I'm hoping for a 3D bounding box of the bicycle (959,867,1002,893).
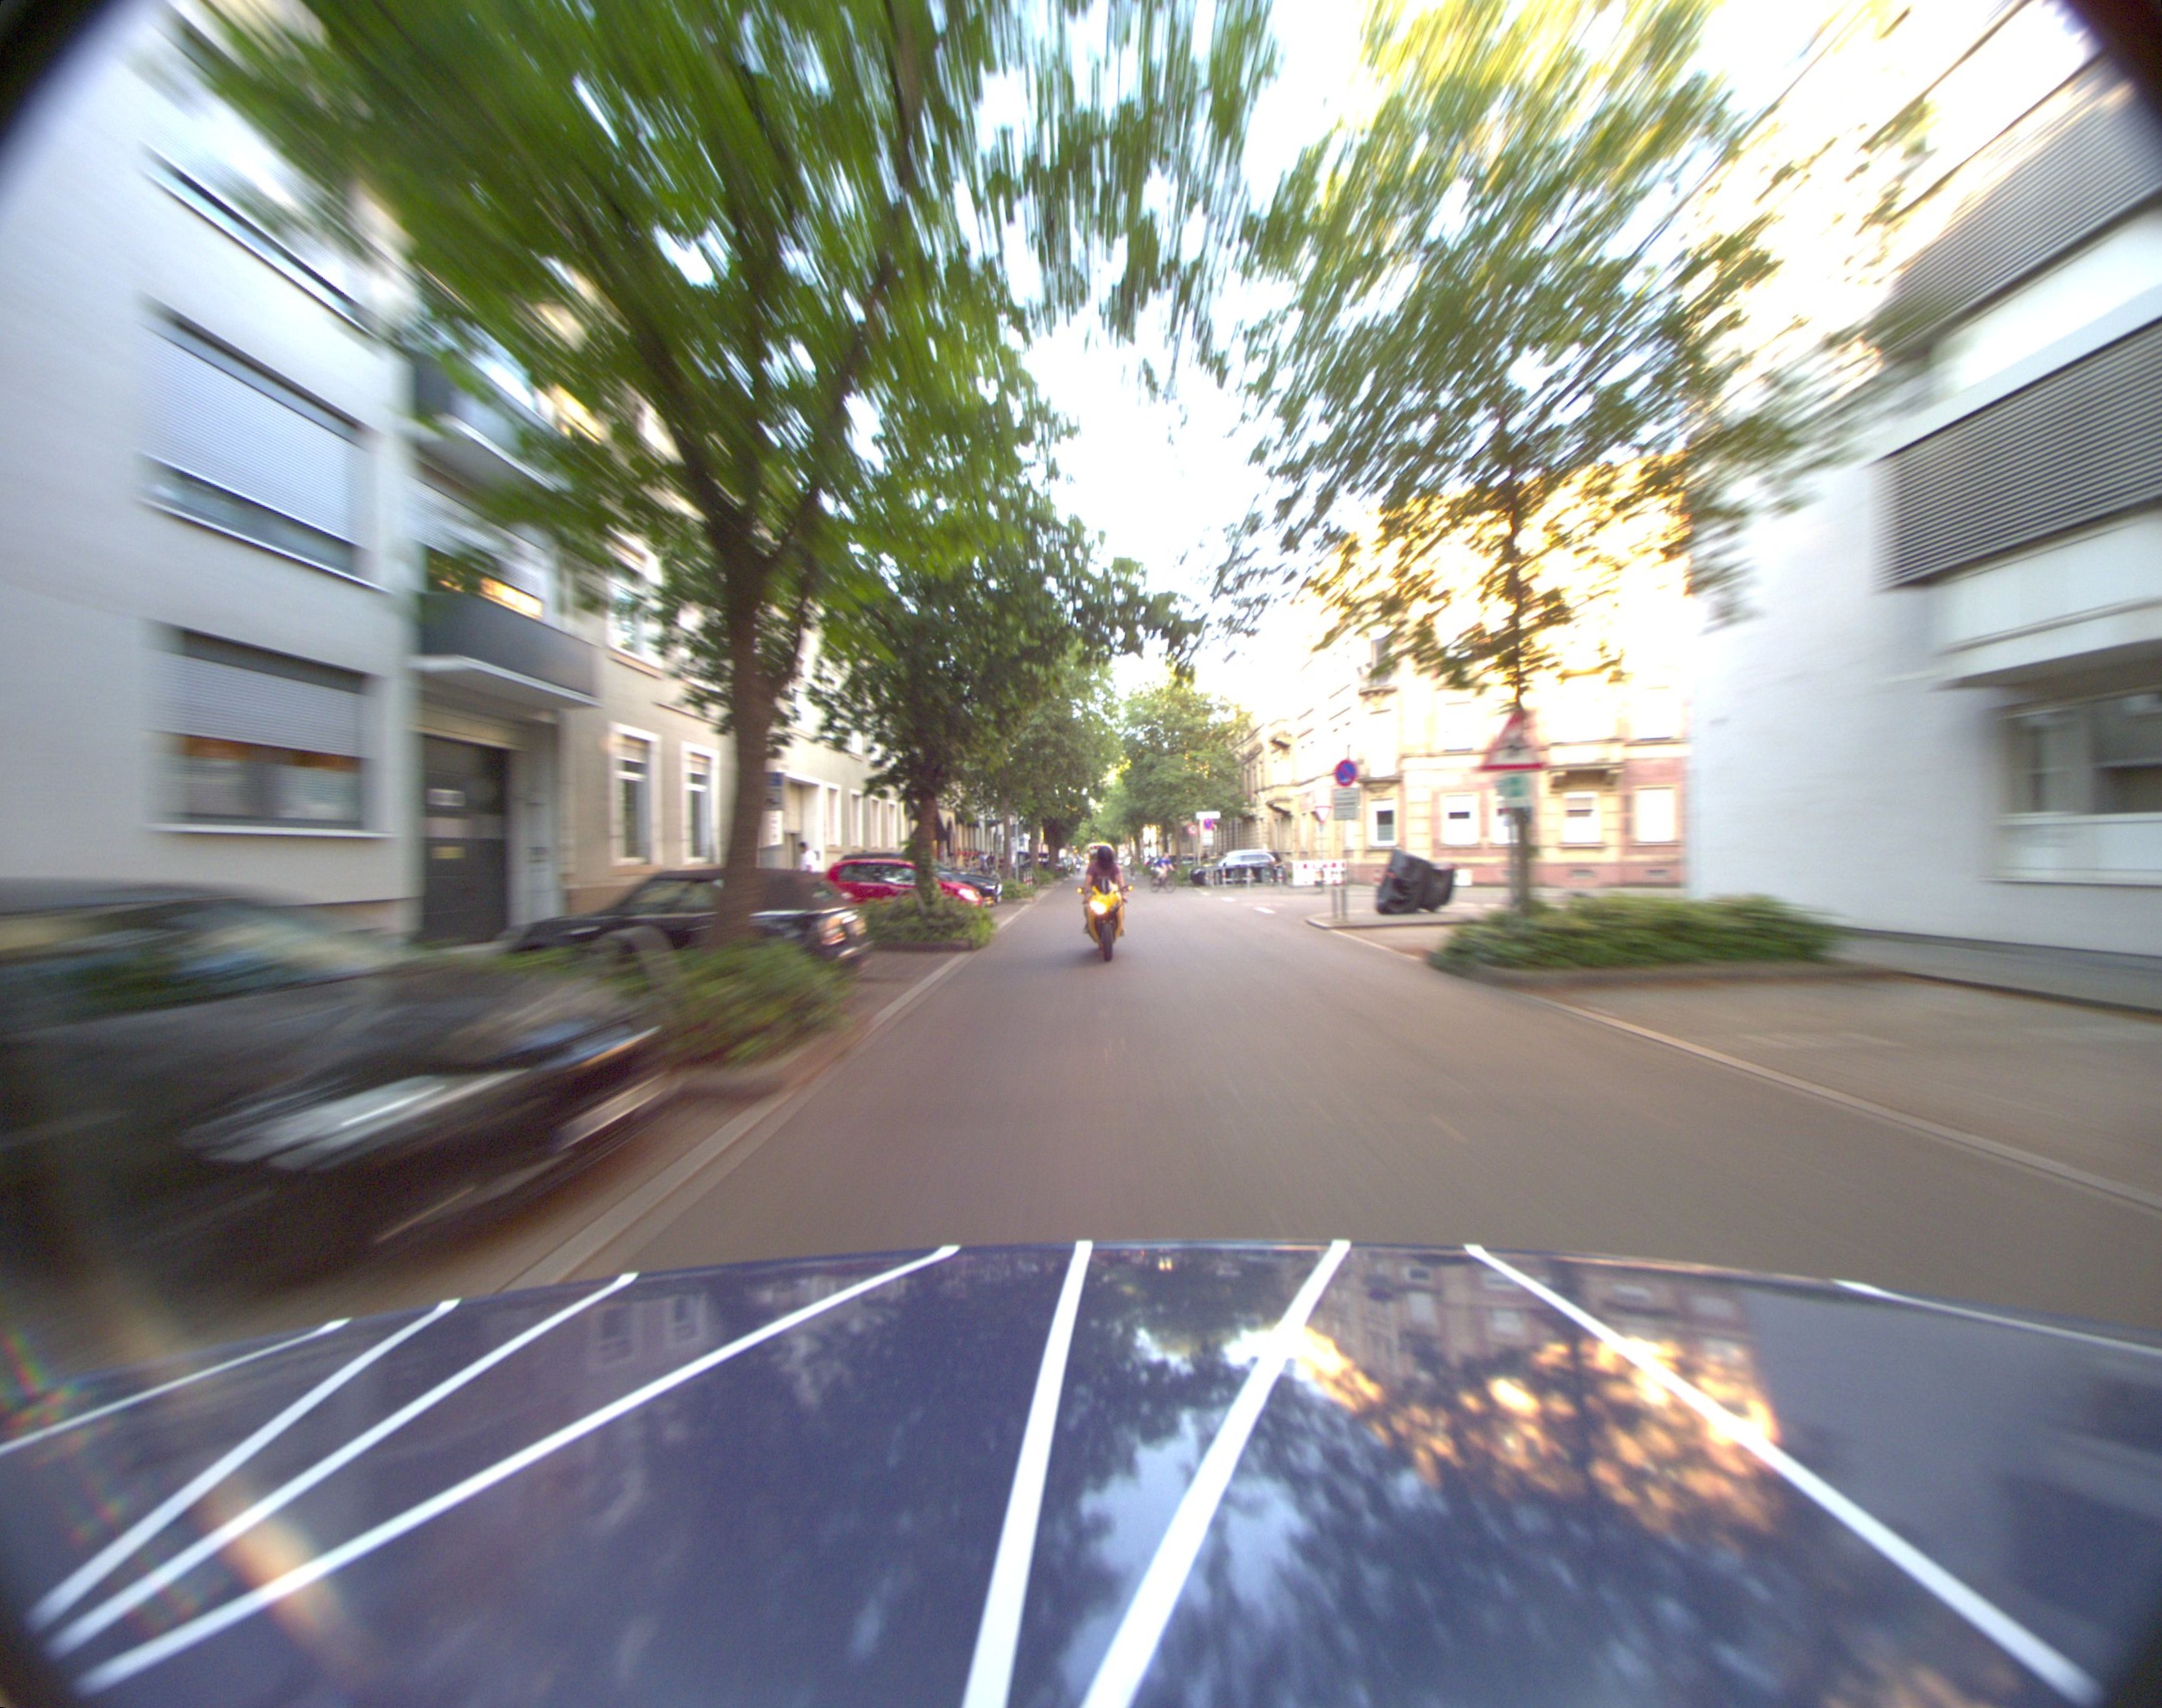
[{"bbox_3d":[-4.330,1.098,32.699,1.799,1.101,0.500,0,0,-4],"label":"bicycle"}]

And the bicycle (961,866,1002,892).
[{"bbox_3d":[-4.386,1.083,33.551,1.800,1.136,0.651,0,0,-8],"label":"bicycle"}]

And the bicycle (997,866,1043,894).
[{"bbox_3d":[-2.557,1.087,31.714,1.843,1.129,0.744,0,0,-9],"label":"bicycle"}]

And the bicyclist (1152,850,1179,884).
[{"bbox_3d":[3.510,0.543,31.545,0.675,1.355,0.775,-3,0,-35],"label":"bicyclist"}]

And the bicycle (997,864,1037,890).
[{"bbox_3d":[-2.959,1.076,35.254,1.834,1.171,0.673,0,0,0],"label":"bicycle"}]

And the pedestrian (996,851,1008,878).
[{"bbox_3d":[-5.055,0.679,48.619,0.708,1.728,0.726,1,-1,-8],"label":"pedestrian"}]

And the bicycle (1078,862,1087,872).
[{"bbox_3d":[0.121,1.333,76.244,0.637,0.977,1.980,-3,-1,-7],"label":"bicycle"}]

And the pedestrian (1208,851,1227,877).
[{"bbox_3d":[8.659,0.642,48.215,0.832,1.661,0.796,0,0,-21],"label":"pedestrian"}]

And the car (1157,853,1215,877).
[{"bbox_3d":[7.477,0.798,54.341,3.954,1.523,1.908,-2,0,3],"label":"car"}]

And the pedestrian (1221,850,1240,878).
[{"bbox_3d":[9.369,0.626,47.634,0.832,1.727,0.796,0,0,-21],"label":"pedestrian"}]

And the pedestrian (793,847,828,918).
[{"bbox_3d":[-6.680,0.685,18.744,0.693,1.727,0.672,-1,1,-30],"label":"pedestrian"}]

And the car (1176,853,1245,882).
[{"bbox_3d":[7.532,0.777,44.456,3.701,1.449,1.873,-3,-1,0],"label":"car"}]

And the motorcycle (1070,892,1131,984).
[{"bbox_3d":[0.288,1.129,10.707,0.737,1.053,1.964,-2,0,2],"label":"motorcycle"}]

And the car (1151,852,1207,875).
[{"bbox_3d":[7.829,0.756,61.020,4.211,1.662,1.908,-3,-1,1],"label":"car"}]

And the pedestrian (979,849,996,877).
[{"bbox_3d":[-5.920,0.583,48.115,0.712,1.728,0.749,1,-1,21],"label":"pedestrian"}]

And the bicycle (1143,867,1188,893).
[{"bbox_3d":[3.491,1.084,31.623,0.675,1.024,1.972,-3,0,-35],"label":"bicycle"}]

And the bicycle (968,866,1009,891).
[{"bbox_3d":[-4.182,1.092,34.365,1.799,1.122,0.664,0,0,-5],"label":"bicycle"}]

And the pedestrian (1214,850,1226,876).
[{"bbox_3d":[9.620,0.630,52.704,0.736,1.729,0.671,-2,0,7],"label":"pedestrian"}]

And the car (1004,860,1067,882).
[{"bbox_3d":[-3.283,1.208,55.472,4.412,1.385,1.885,2,0,-1],"label":"car"}]

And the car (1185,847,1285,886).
[{"bbox_3d":[7.451,0.608,37.072,4.436,1.641,1.873,-3,-1,2],"label":"car"}]

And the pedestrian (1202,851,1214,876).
[{"bbox_3d":[8.733,0.648,52.291,0.736,1.729,0.671,-2,0,7],"label":"pedestrian"}]

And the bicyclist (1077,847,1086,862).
[{"bbox_3d":[0.048,0.056,76.216,0.637,1.551,0.818,-3,0,-7],"label":"bicyclist"}]

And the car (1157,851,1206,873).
[{"bbox_3d":[8.402,0.677,63.630,3.810,1.662,1.714,-3,0,0],"label":"car"}]

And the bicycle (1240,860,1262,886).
[{"bbox_3d":[7.594,0.848,33.962,0.523,1.013,1.861,-4,2,1],"label":"bicycle"}]

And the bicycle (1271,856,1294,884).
[{"bbox_3d":[9.012,0.693,34.000,0.518,1.101,1.861,-4,2,1],"label":"bicycle"}]

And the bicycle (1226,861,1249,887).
[{"bbox_3d":[6.979,0.875,33.942,0.523,1.053,1.861,-4,2,-1],"label":"bicycle"}]

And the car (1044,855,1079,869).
[{"bbox_3d":[-2.408,1.025,94.681,4.119,1.608,1.961,-1,0,2],"label":"car"}]

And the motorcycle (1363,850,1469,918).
[{"bbox_3d":[7.842,0.691,17.798,2.217,1.473,0.858,-2,-1,-17],"label":"motorcycle"}]

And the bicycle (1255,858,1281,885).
[{"bbox_3d":[8.338,0.766,33.921,0.670,1.057,1.861,-4,2,1],"label":"bicycle"}]

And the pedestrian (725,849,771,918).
[{"bbox_3d":[-7.524,0.645,17.207,0.656,1.527,0.831,0,0,2],"label":"pedestrian"}]

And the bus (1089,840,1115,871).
[{"bbox_3d":[2.335,0.185,87.425,2.668,3.175,11.899,-3,0,1],"label":"bus"}]

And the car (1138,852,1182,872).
[{"bbox_3d":[7.574,0.768,73.435,3.975,1.587,1.781,-5,0,1],"label":"car"}]

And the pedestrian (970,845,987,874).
[{"bbox_3d":[-6.410,0.346,47.314,0.725,1.728,0.746,1,-1,28],"label":"pedestrian"}]

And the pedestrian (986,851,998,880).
[{"bbox_3d":[-5.402,0.712,46.264,0.616,1.728,0.623,1,-1,1],"label":"pedestrian"}]

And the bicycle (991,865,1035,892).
[{"bbox_3d":[-2.956,1.068,33.049,1.834,1.171,0.601,0,0,0],"label":"bicycle"}]

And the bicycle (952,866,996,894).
[{"bbox_3d":[-4.424,1.078,31.495,1.800,1.136,0.668,0,0,-8],"label":"bicycle"}]

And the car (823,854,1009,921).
[{"bbox_3d":[-4.240,0.844,20.039,4.436,1.646,1.900,-1,0,2],"label":"car"}]

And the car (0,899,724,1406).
[{"bbox_3d":[-4.421,0.966,3.355,4.723,1.413,2.036,0,0,1],"label":"car"}]

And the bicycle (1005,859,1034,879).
[{"bbox_3d":[-4.053,0.988,50.009,1.800,1.225,0.673,2,0,-8],"label":"bicycle"}]

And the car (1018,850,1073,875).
[{"bbox_3d":[-3.136,0.739,68.001,4.701,1.999,2.037,2,0,0],"label":"car"}]

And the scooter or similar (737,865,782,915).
[{"bbox_3d":[-7.508,0.831,17.773,0.656,1.146,0.831,0,0,2],"label":"scooter or similar"}]

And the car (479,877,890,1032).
[{"bbox_3d":[-4.065,1.000,8.301,3.492,1.444,1.899,0,0,-1],"label":"car"}]

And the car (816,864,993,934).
[{"bbox_3d":[-3.799,0.962,16.841,3.492,1.444,1.899,0,0,-1],"label":"car"}]

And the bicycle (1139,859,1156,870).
[{"bbox_3d":[7.429,1.199,84.978,1.775,1.225,0.500,-2,1,6],"label":"bicycle"}]

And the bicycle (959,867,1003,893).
[{"bbox_3d":[-4.236,1.099,32.178,1.799,1.101,0.500,0,0,-4],"label":"bicycle"}]

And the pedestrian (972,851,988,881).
[{"bbox_3d":[-5.925,0.687,44.540,0.779,1.728,0.683,1,-1,-15],"label":"pedestrian"}]

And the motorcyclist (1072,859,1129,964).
[{"bbox_3d":[0.284,0.796,10.819,0.737,1.404,0.726,-2,0,2],"label":"motorcyclist"}]
